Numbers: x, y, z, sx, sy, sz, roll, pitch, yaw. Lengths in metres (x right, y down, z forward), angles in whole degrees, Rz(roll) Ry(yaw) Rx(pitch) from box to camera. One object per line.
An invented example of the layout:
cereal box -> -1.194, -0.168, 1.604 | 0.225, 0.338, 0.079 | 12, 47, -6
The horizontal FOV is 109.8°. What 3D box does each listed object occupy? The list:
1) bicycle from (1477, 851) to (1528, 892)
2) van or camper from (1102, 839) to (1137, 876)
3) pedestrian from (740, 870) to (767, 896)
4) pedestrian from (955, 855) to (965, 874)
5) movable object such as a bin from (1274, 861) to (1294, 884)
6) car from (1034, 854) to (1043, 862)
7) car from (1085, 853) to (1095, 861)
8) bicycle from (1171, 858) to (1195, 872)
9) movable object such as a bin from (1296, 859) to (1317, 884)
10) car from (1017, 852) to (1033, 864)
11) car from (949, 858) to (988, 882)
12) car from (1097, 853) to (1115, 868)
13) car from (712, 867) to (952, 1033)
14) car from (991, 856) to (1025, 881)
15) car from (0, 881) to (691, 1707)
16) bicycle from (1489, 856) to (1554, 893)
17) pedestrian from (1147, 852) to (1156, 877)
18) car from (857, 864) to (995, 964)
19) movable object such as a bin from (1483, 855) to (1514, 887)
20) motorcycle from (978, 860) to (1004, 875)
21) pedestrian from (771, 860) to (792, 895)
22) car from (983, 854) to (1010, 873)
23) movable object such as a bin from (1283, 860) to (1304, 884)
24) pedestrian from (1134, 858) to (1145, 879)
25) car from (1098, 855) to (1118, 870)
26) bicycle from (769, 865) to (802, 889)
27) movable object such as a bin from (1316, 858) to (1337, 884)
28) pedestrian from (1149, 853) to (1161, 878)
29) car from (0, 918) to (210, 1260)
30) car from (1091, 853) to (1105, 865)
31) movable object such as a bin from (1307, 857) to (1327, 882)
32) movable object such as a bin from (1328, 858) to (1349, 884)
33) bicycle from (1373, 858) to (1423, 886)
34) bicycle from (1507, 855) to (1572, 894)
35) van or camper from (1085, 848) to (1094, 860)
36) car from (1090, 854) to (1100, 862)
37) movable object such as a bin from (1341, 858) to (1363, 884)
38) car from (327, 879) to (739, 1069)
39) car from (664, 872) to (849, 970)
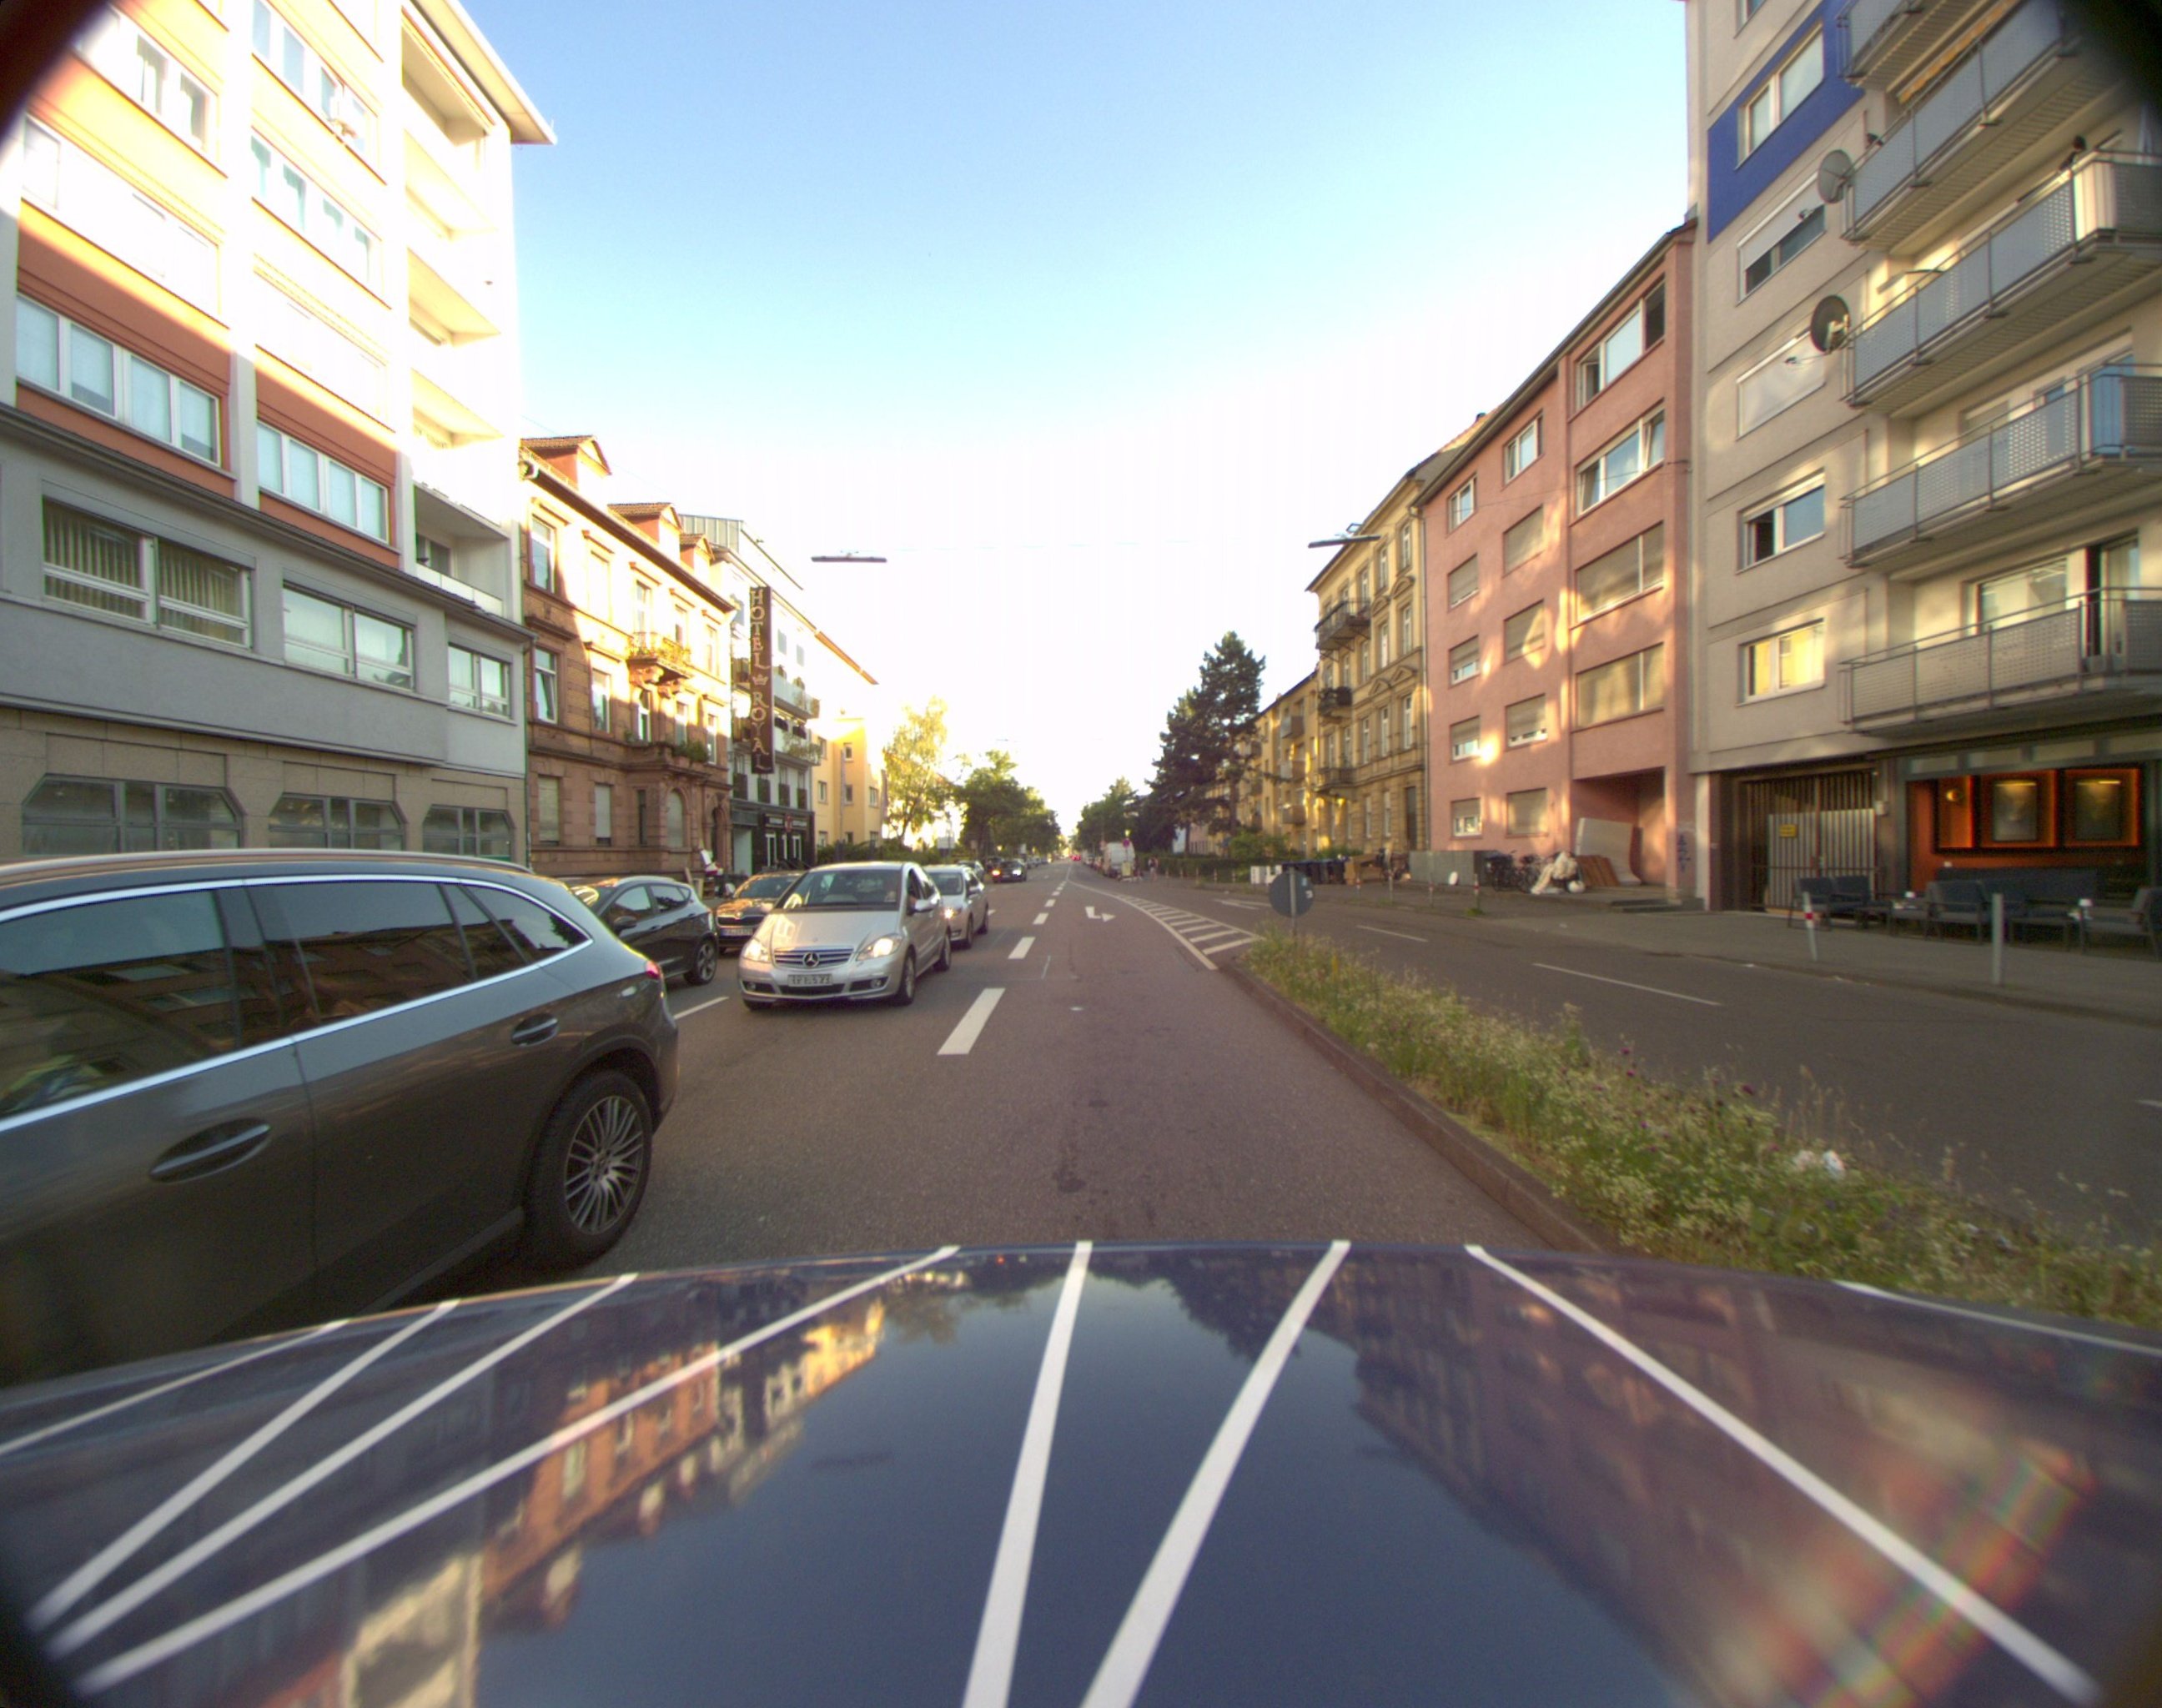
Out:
bicycle -> 12.918, 0.531, 23.273 | 1.677, 1.153, 0.495 | -3, 1, -26
van or camper -> 2.986, 0.249, 60.344 | 2.041, 2.648, 6.013 | -3, 0, -3
pedestrian -> -13.668, 1.192, 31.710 | 0.692, 1.037, 0.945 | -1, 0, 3
pedestrian -> -10.450, 0.930, 65.499 | 0.748, 1.606, 0.579 | -1, 1, -2
movable object such as a bin -> 9.719, 0.872, 36.396 | 0.643, 1.077, 0.582 | -4, 2, -31
car -> -8.488, 0.713, 151.383 | 1.798, 1.577, 3.999 | 0, 0, -3
car -> 1.850, 0.658, 155.305 | 1.808, 1.489, 3.956 | -1, 0, 1
bicycle -> 7.895, 0.845, 58.883 | 1.763, 0.976, 0.590 | -2, 1, 0
movable object such as a bin -> 10.444, 0.793, 35.210 | 0.643, 1.104, 0.582 | -4, 2, -31
car -> -7.692, 0.555, 104.531 | 1.921, 1.672, 4.706 | 1, 0, -2
car -> -7.601, 1.019, 51.708 | 1.860, 1.503, 4.834 | 1, 0, 1
car -> 2.791, 0.707, 85.533 | 1.781, 1.579, 4.185 | -2, 0, 0
car -> -2.771, 0.986, 9.350 | 1.808, 1.559, 3.618 | -1, 0, -1
car -> -4.819, 0.953, 50.573 | 1.999, 1.525, 3.999 | -1, 0, -2
car -> -2.779, 0.955, 1.448 | 1.788, 1.623, 4.478 | -1, 0, -1
bicycle -> 13.023, 0.597, 22.469 | 1.675, 1.035, 0.549 | -2, 1, -7
pedestrian -> 4.752, 0.682, 51.238 | 0.481, 1.642, 0.725 | -1, 1, -7
car -> -2.768, 1.007, 14.498 | 1.712, 1.501, 4.308 | -2, 0, 0
movable object such as a bin -> 13.697, 0.549, 24.926 | 0.676, 1.026, 0.589 | -1, 1, -1
motorcycle -> -7.014, 1.055, 59.353 | 1.932, 1.065, 0.819 | -1, 1, -12
pedestrian -> -14.442, 1.131, 36.635 | 0.709, 1.633, 0.693 | -1, 0, -1
car -> -7.481, 0.806, 67.734 | 1.953, 1.645, 4.795 | -1, 0, -1
movable object such as a bin -> 10.010, 0.846, 35.795 | 0.643, 1.062, 0.626 | -4, 2, -31
pedestrian -> 3.955, 0.960, 51.451 | 0.560, 1.370, 0.480 | -2, 1, -6
car -> 2.580, 0.809, 74.341 | 1.721, 1.443, 3.923 | -2, 0, -1
bicycle -> -14.319, 1.113, 36.810 | 1.427, 1.104, 0.488 | 2, 0, -18
movable object such as a bin -> 10.983, 0.742, 34.016 | 0.643, 1.104, 0.582 | -4, 2, -31
pedestrian -> 4.927, 0.764, 50.506 | 0.606, 1.642, 0.696 | -1, 1, -7
car -> -5.702, 1.129, 2.581 | 1.493, 1.497, 3.478 | -1, 0, -1
car -> 2.278, 0.710, 102.925 | 1.842, 1.508, 4.315 | -2, 0, 0
movable object such as a bin -> 10.768, 0.712, 34.647 | 0.643, 1.104, 0.582 | -4, 2, -31
movable object such as a bin -> 11.365, 0.754, 33.543 | 0.643, 1.104, 0.582 | -4, 2, -31
bicycle -> 12.868, 0.728, 30.887 | 1.653, 0.961, 0.662 | -6, 1, -2
bicycle -> 13.066, 0.570, 21.640 | 1.676, 1.035, 0.549 | -2, 1, -15
van or camper -> 1.868, 0.024, 169.201 | 1.918, 2.528, 5.334 | -1, 0, -1
car -> 2.453, 0.694, 131.427 | 1.684, 1.434, 3.881 | -2, 0, 1
movable object such as a bin -> 11.792, 0.730, 33.032 | 0.643, 1.104, 0.582 | -4, 2, -31
car -> -5.766, 1.121, 8.797 | 1.655, 1.476, 4.239 | -2, 0, 0
car -> -5.887, 1.133, 14.371 | 1.712, 1.448, 4.158 | -1, 0, 0
